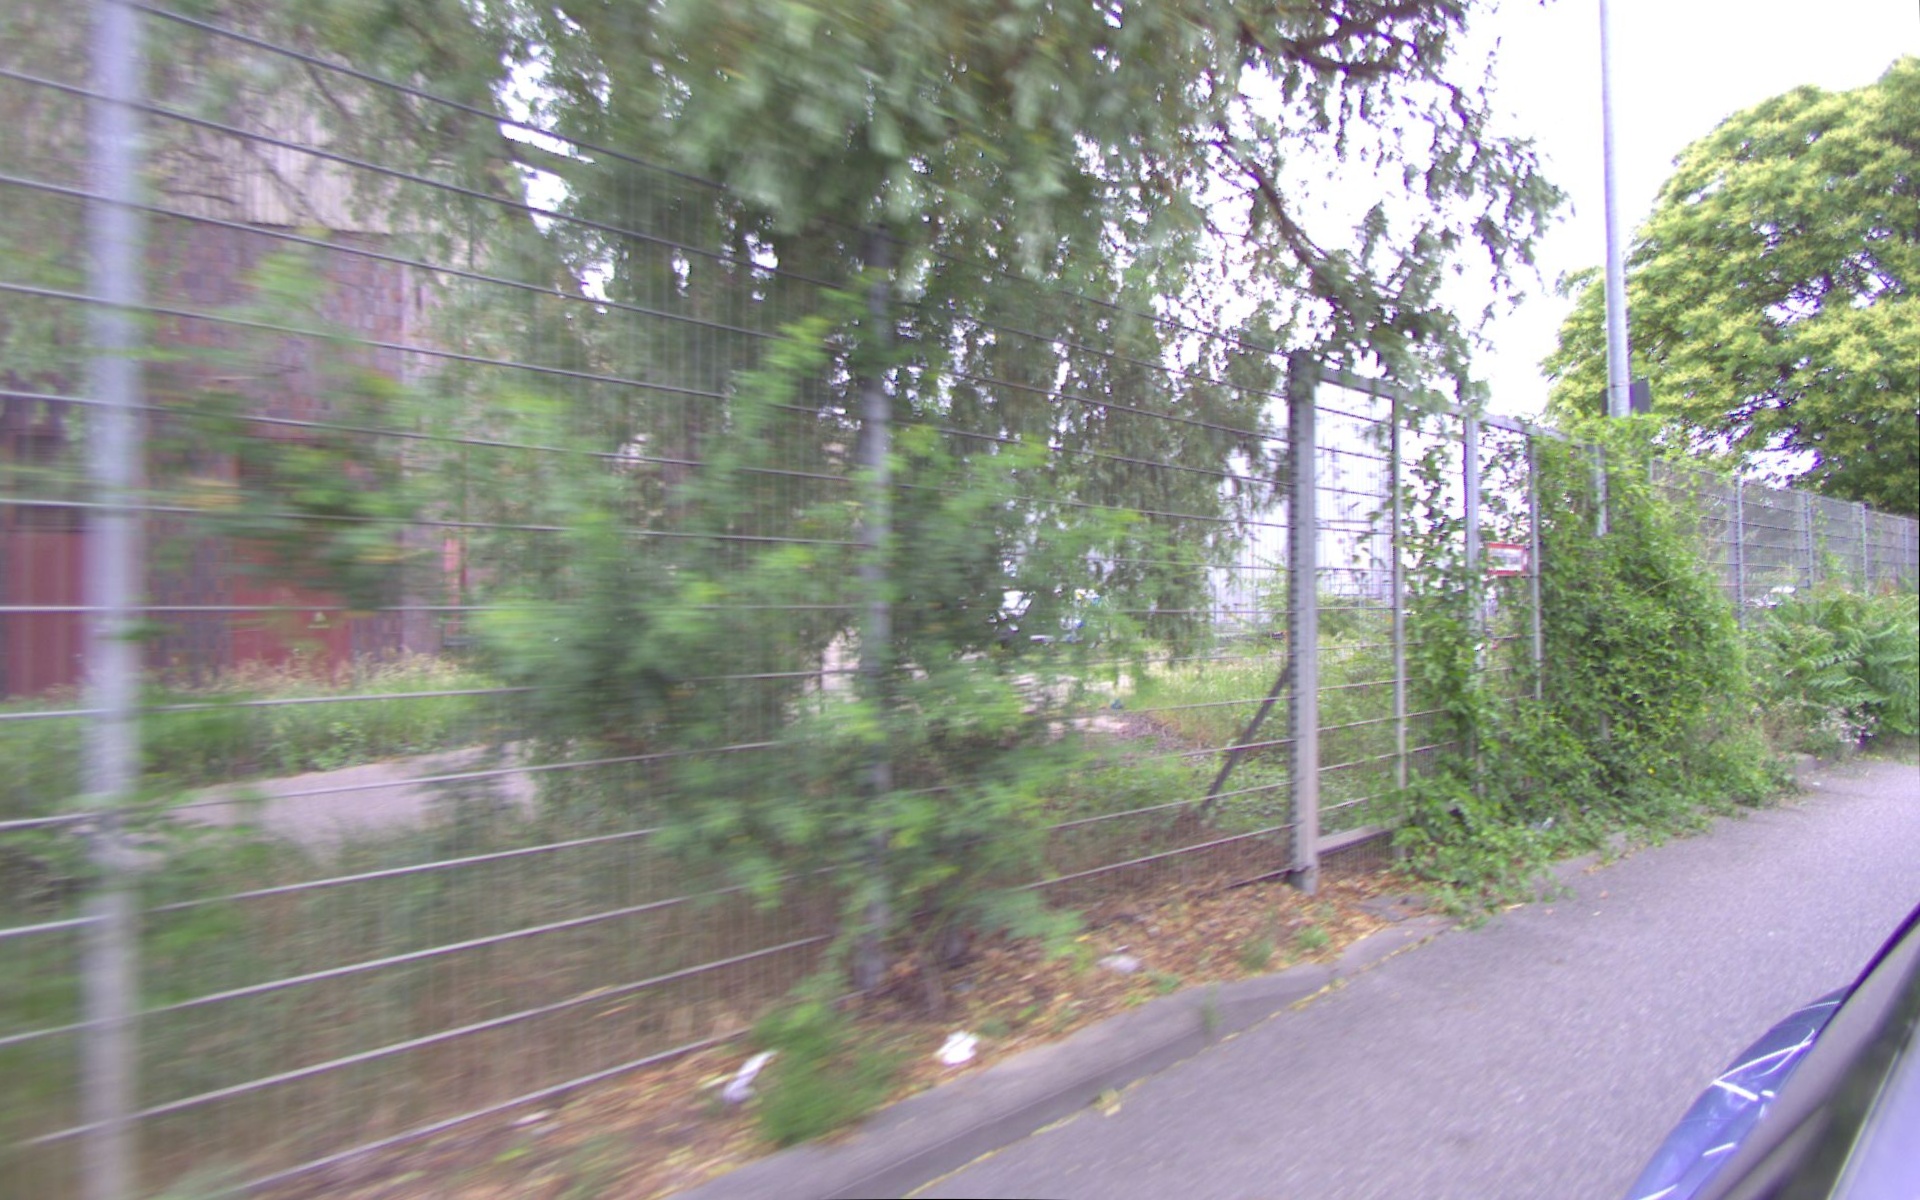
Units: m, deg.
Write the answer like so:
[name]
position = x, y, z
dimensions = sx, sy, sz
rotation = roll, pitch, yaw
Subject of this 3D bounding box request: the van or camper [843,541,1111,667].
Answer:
[van or camper]
position = 0.308, 0.119, 43.444
dimensions = 5.385, 4.588, 11.839
rotation = -2, 0, -37
